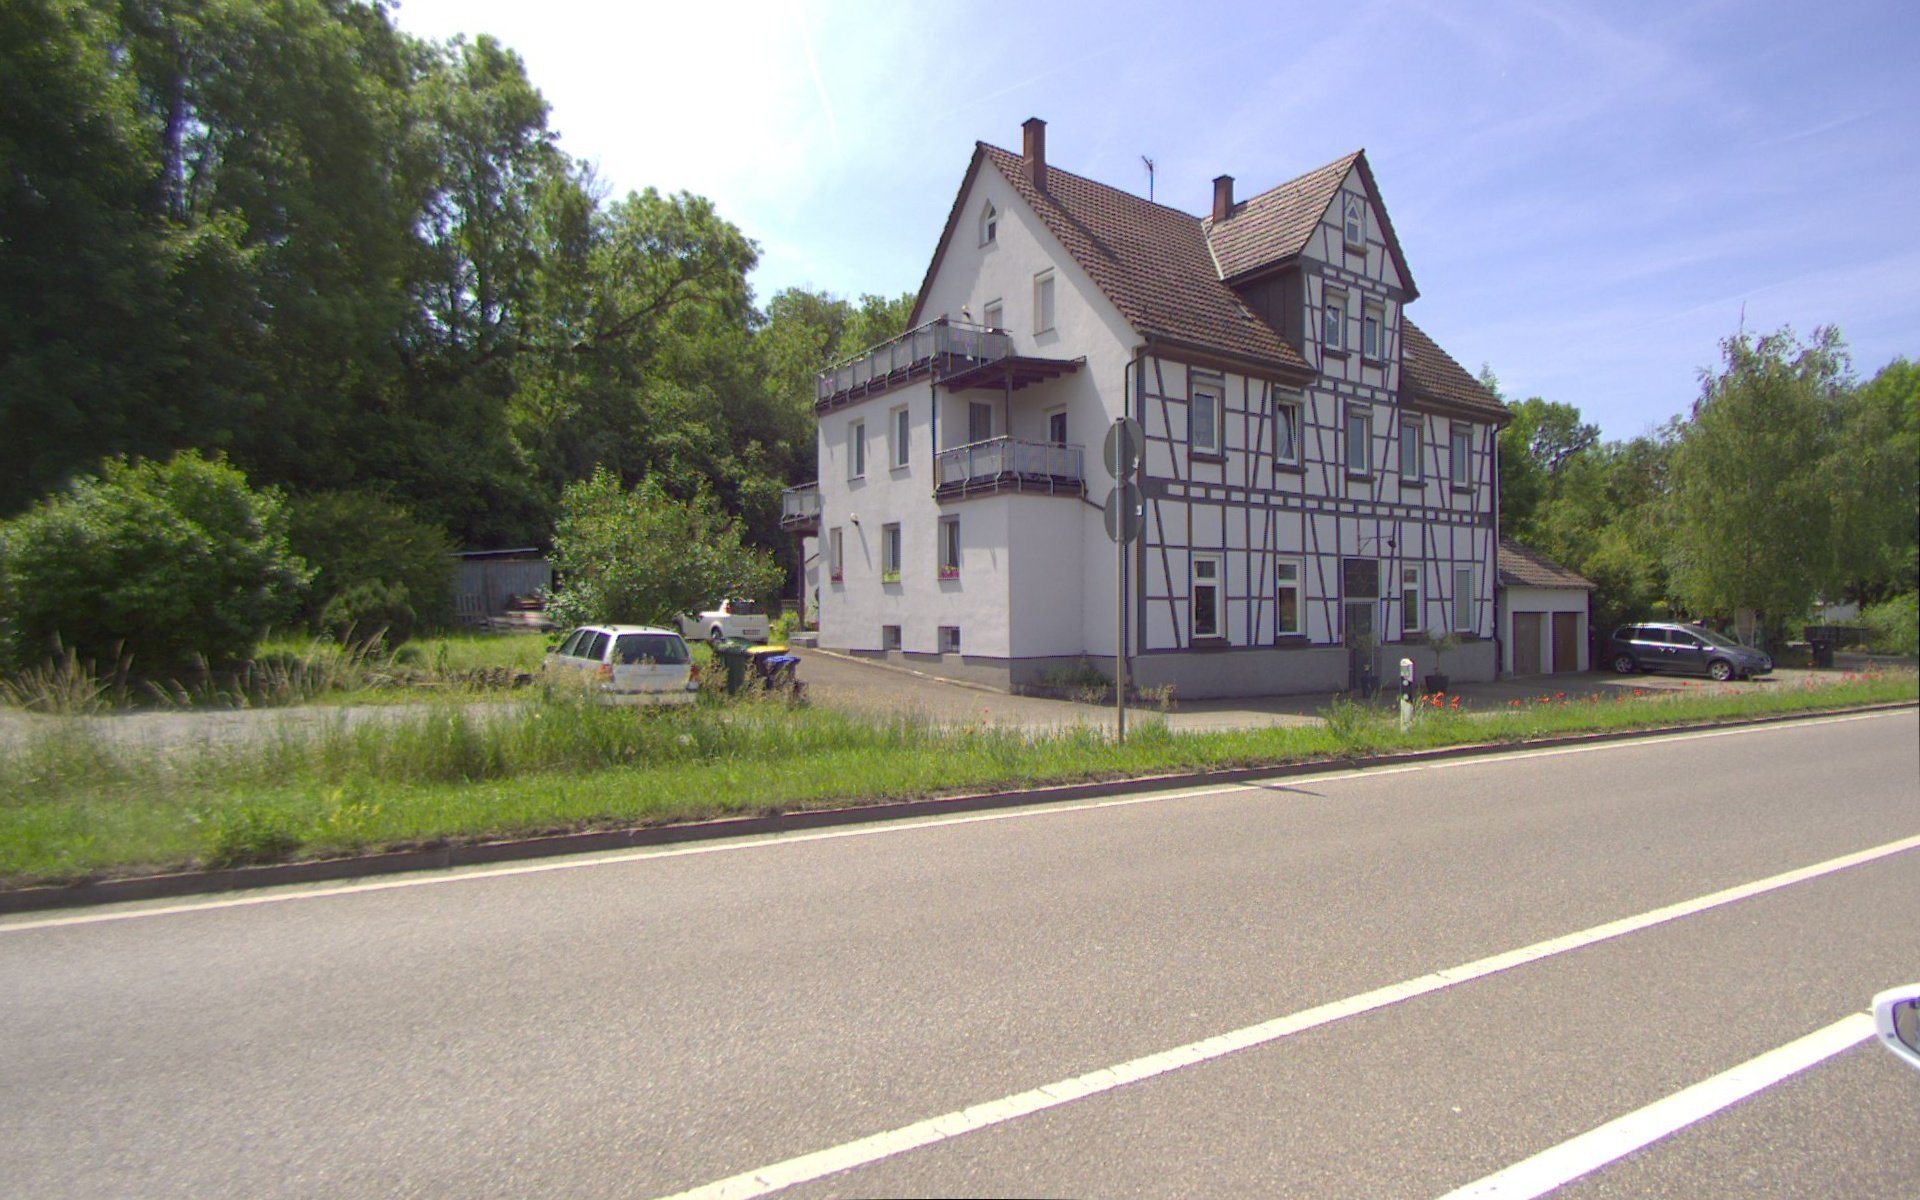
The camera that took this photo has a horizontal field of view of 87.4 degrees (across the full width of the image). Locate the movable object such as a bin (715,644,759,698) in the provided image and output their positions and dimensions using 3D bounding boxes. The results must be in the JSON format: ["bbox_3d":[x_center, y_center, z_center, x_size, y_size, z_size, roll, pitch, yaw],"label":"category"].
[{"bbox_3d":[-4.238,1.342,19.068,0.649,0.989,0.499,2,-1,-37],"label":"movable object such as a bin"}]

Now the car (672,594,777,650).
[{"bbox_3d":[-7.214,0.639,30.597,1.660,1.466,3.345,1,2,-42],"label":"car"}]

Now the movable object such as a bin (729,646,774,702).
[{"bbox_3d":[-3.858,1.358,18.574,0.649,0.984,0.499,2,-1,-37],"label":"movable object such as a bin"}]

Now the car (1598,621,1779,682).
[{"bbox_3d":[24.499,1.670,33.977,1.841,1.743,4.636,-2,2,-33],"label":"car"}]

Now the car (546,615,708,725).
[{"bbox_3d":[-5.481,1.046,16.308,1.594,1.485,3.354,1,0,-35],"label":"car"}]

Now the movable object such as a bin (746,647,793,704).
[{"bbox_3d":[-3.457,1.364,18.220,0.649,0.982,0.499,2,-1,-37],"label":"movable object such as a bin"}]

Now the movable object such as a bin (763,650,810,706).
[{"bbox_3d":[-3.080,1.386,17.855,0.649,0.948,0.499,2,-1,-37],"label":"movable object such as a bin"}]
